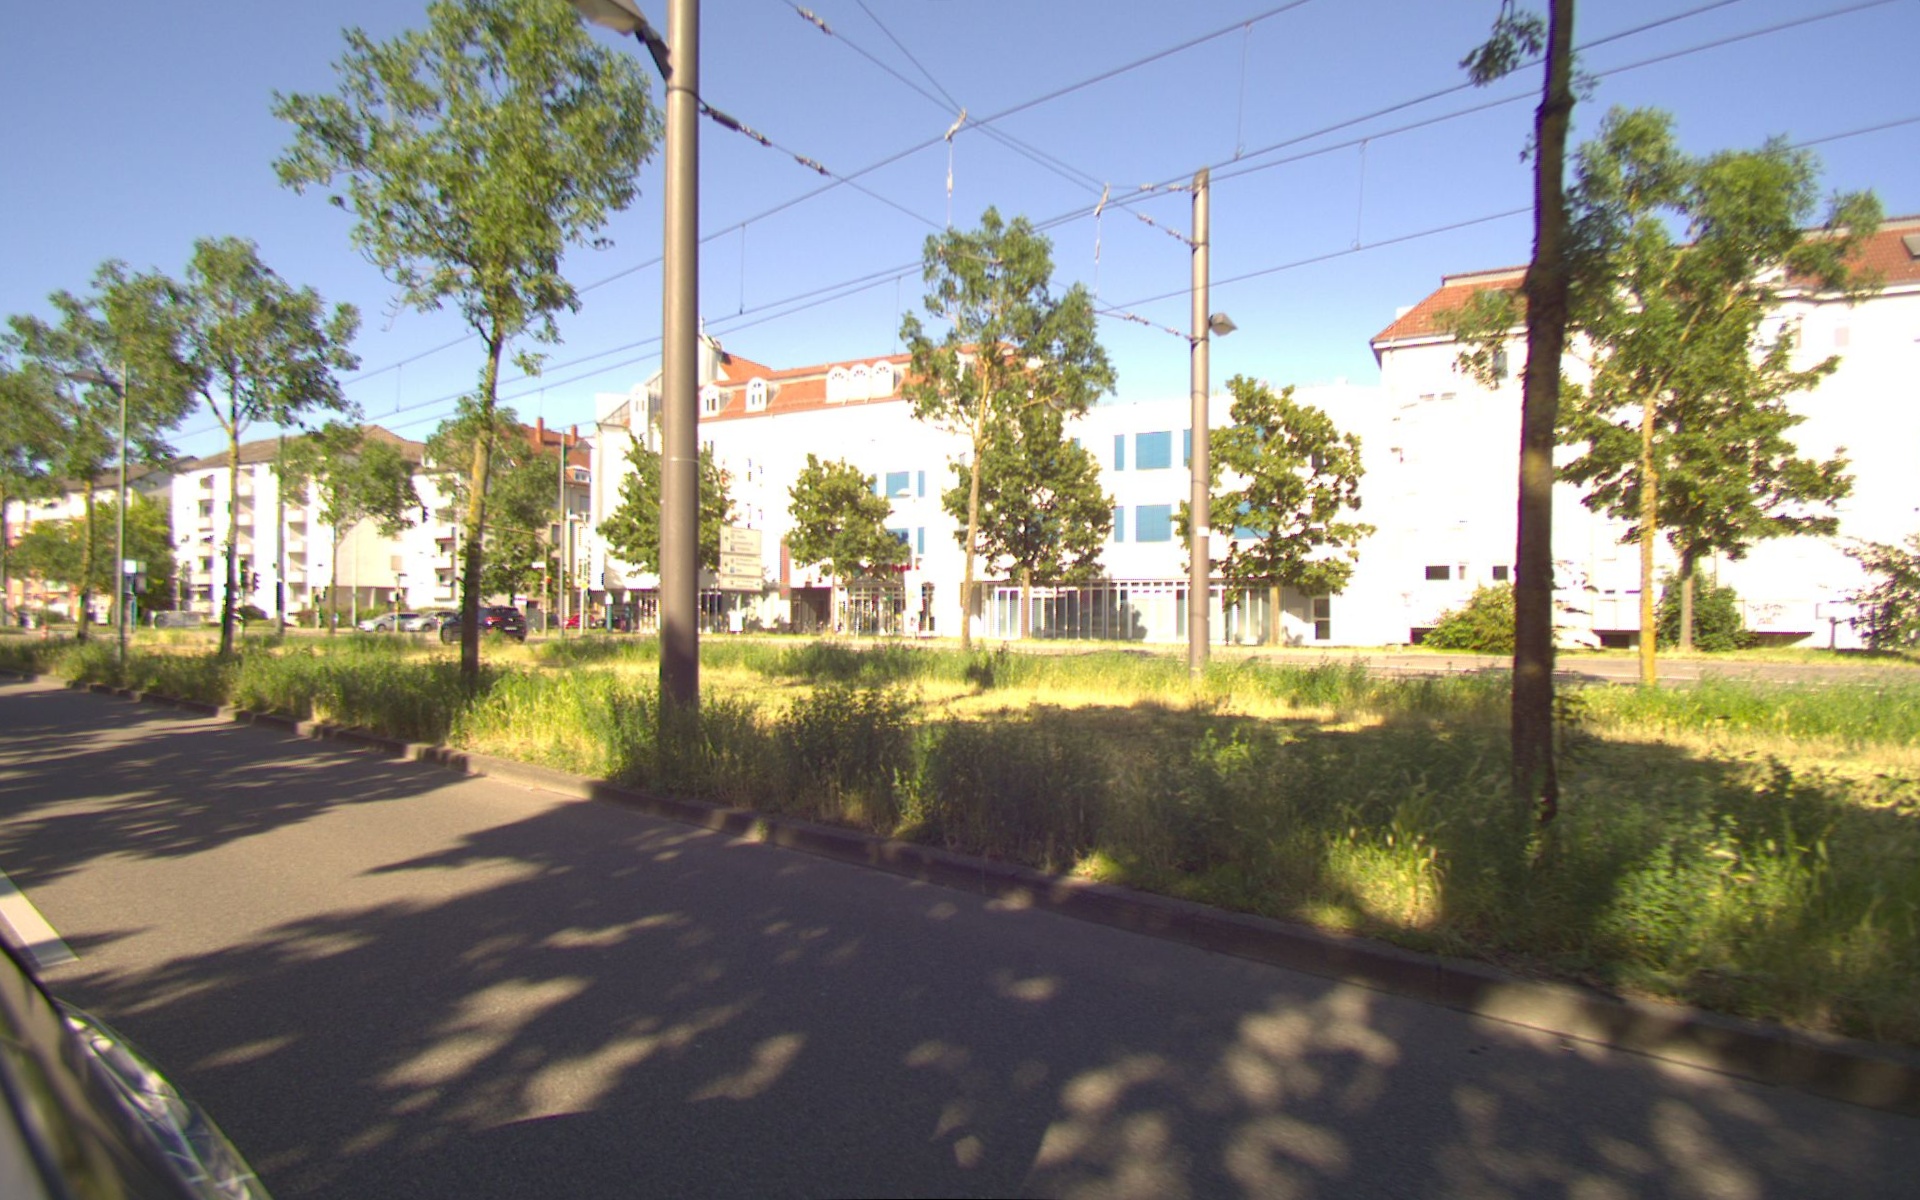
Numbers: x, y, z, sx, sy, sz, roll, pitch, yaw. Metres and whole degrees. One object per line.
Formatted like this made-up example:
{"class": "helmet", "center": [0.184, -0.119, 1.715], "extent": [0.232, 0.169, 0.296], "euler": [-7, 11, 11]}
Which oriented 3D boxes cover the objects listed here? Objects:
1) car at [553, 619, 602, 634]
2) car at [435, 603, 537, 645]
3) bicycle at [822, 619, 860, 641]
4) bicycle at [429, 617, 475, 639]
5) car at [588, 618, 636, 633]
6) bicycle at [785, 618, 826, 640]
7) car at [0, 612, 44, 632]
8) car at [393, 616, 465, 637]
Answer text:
{"class": "car", "center": [-34.482, 2.357, 91.322], "extent": [1.694, 1.320, 4.052], "euler": [-1, -1, 27]}
{"class": "car", "center": [-19.485, 0.979, 41.511], "extent": [4.478, 1.653, 1.804], "euler": [-1, -1, 35]}
{"class": "bicycle", "center": [-6.806, 1.685, 58.060], "extent": [0.717, 1.222, 2.523], "euler": [-1, -1, 33]}
{"class": "bicycle", "center": [-31.315, 1.712, 62.411], "extent": [0.660, 1.319, 2.552], "euler": [-1, -1, 32]}
{"class": "car", "center": [-31.204, 2.286, 90.730], "extent": [1.694, 1.320, 4.052], "euler": [-1, -1, 27]}
{"class": "bicycle", "center": [-8.869, 1.672, 58.192], "extent": [2.545, 1.222, 0.711], "euler": [-1, -1, 34]}
{"class": "car", "center": [-82.753, 1.894, 88.105], "extent": [4.169, 1.723, 1.699], "euler": [1, -1, -31]}
{"class": "car", "center": [-39.533, 1.962, 75.426], "extent": [2.323, 1.476, 4.151], "euler": [-1, -1, 27]}
